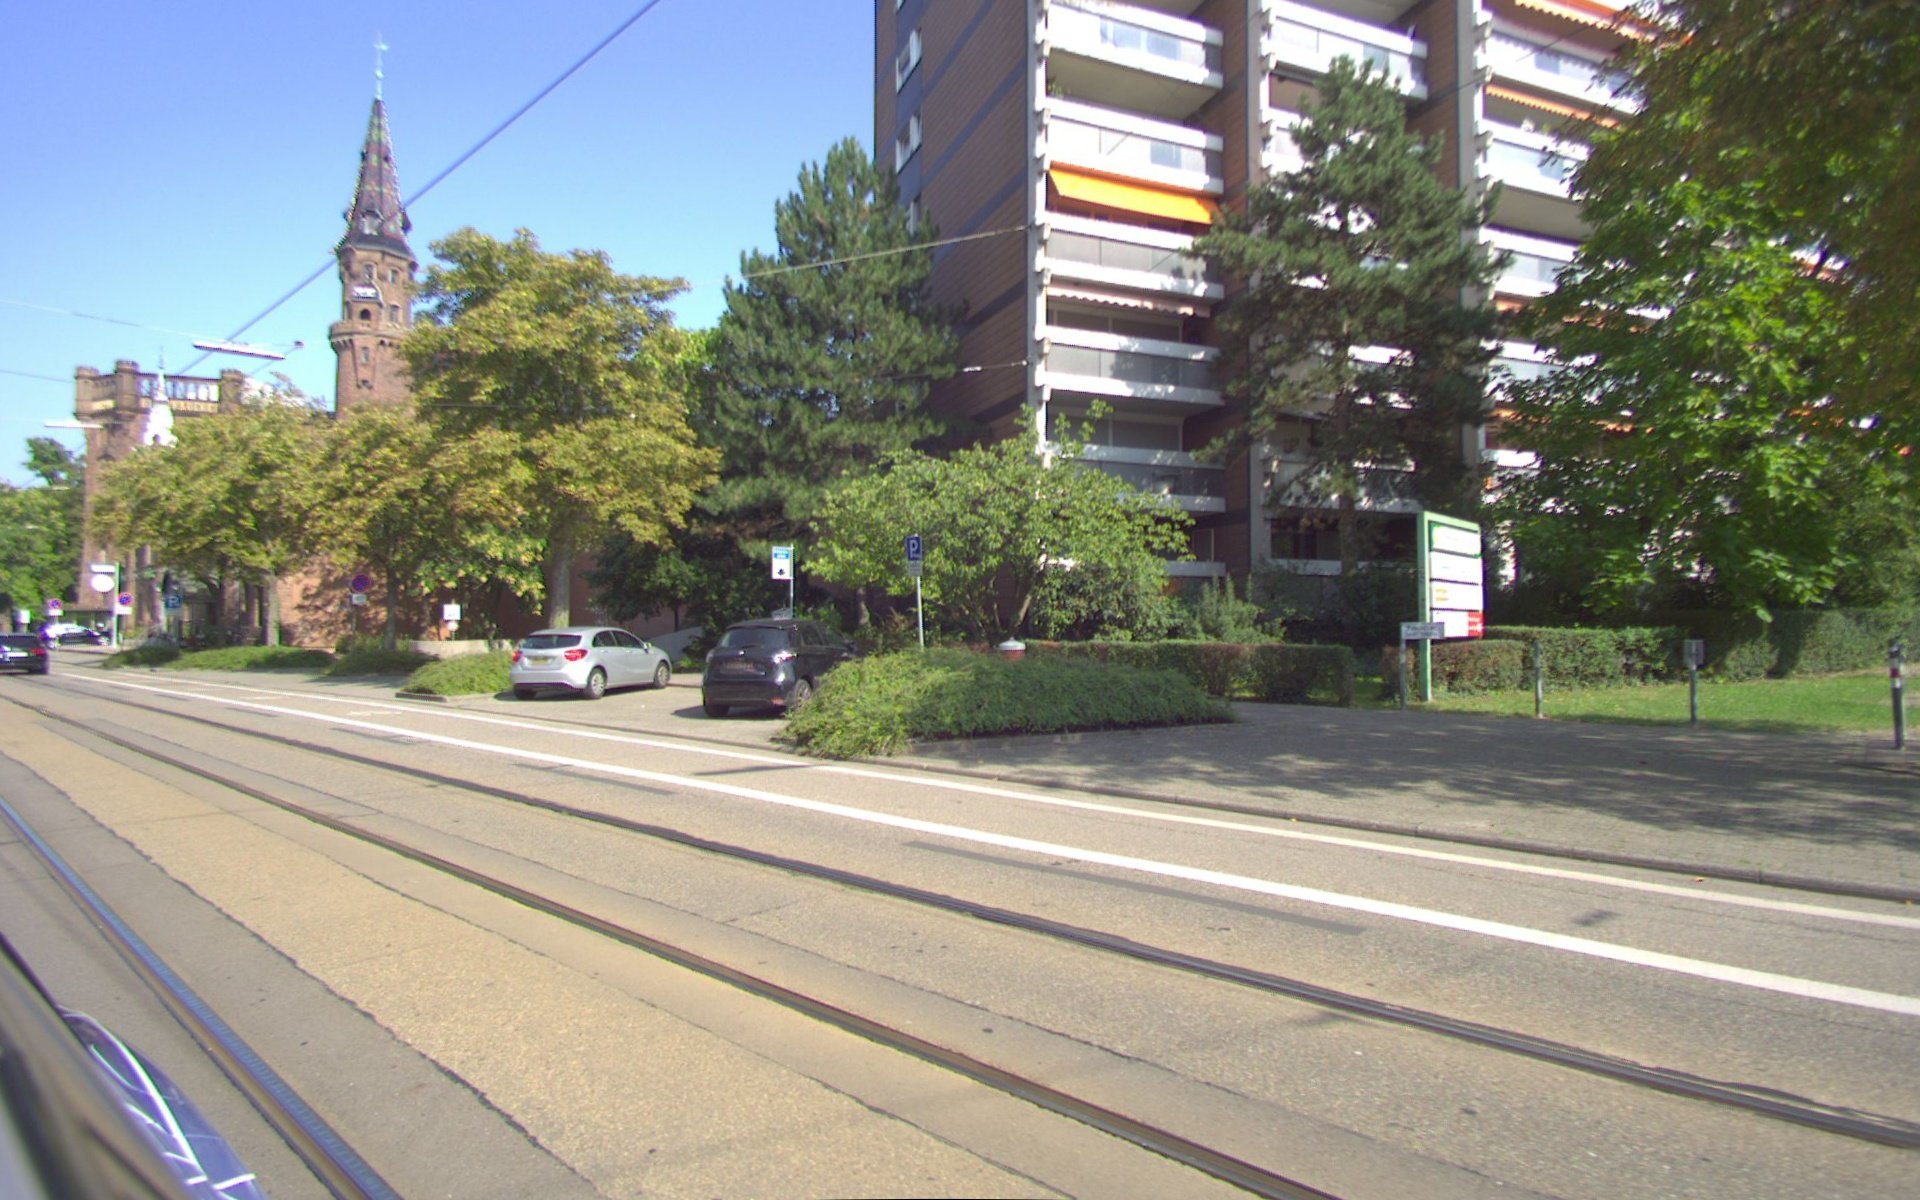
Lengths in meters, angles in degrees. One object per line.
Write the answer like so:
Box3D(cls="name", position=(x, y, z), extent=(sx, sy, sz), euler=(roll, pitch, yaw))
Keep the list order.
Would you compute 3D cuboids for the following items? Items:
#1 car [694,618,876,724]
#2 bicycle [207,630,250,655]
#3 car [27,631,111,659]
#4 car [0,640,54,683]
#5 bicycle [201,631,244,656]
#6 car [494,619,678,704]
Box3D(cls="car", position=(-2.814, 1.106, 17.052), extent=(1.607, 1.527, 3.627), euler=(-1, -1, 16))
Box3D(cls="bicycle", position=(-36.385, 2.113, 50.364), extent=(0.418, 1.082, 1.797), euler=(-1, 3, 19))
Box3D(cls="car", position=(-65.471, 3.305, 74.410), extent=(1.956, 1.658, 4.351), euler=(-2, 2, 42))
Box3D(cls="car", position=(-32.600, 2.060, 34.598), extent=(4.510, 1.386, 1.809), euler=(-2, -3, 41))
Box3D(cls="bicycle", position=(-36.818, 2.162, 50.525), extent=(0.418, 1.082, 1.797), euler=(-1, 3, 19))
Box3D(cls="car", position=(-7.700, 1.221, 21.274), extent=(1.770, 1.490, 3.985), euler=(-2, 0, 12))
